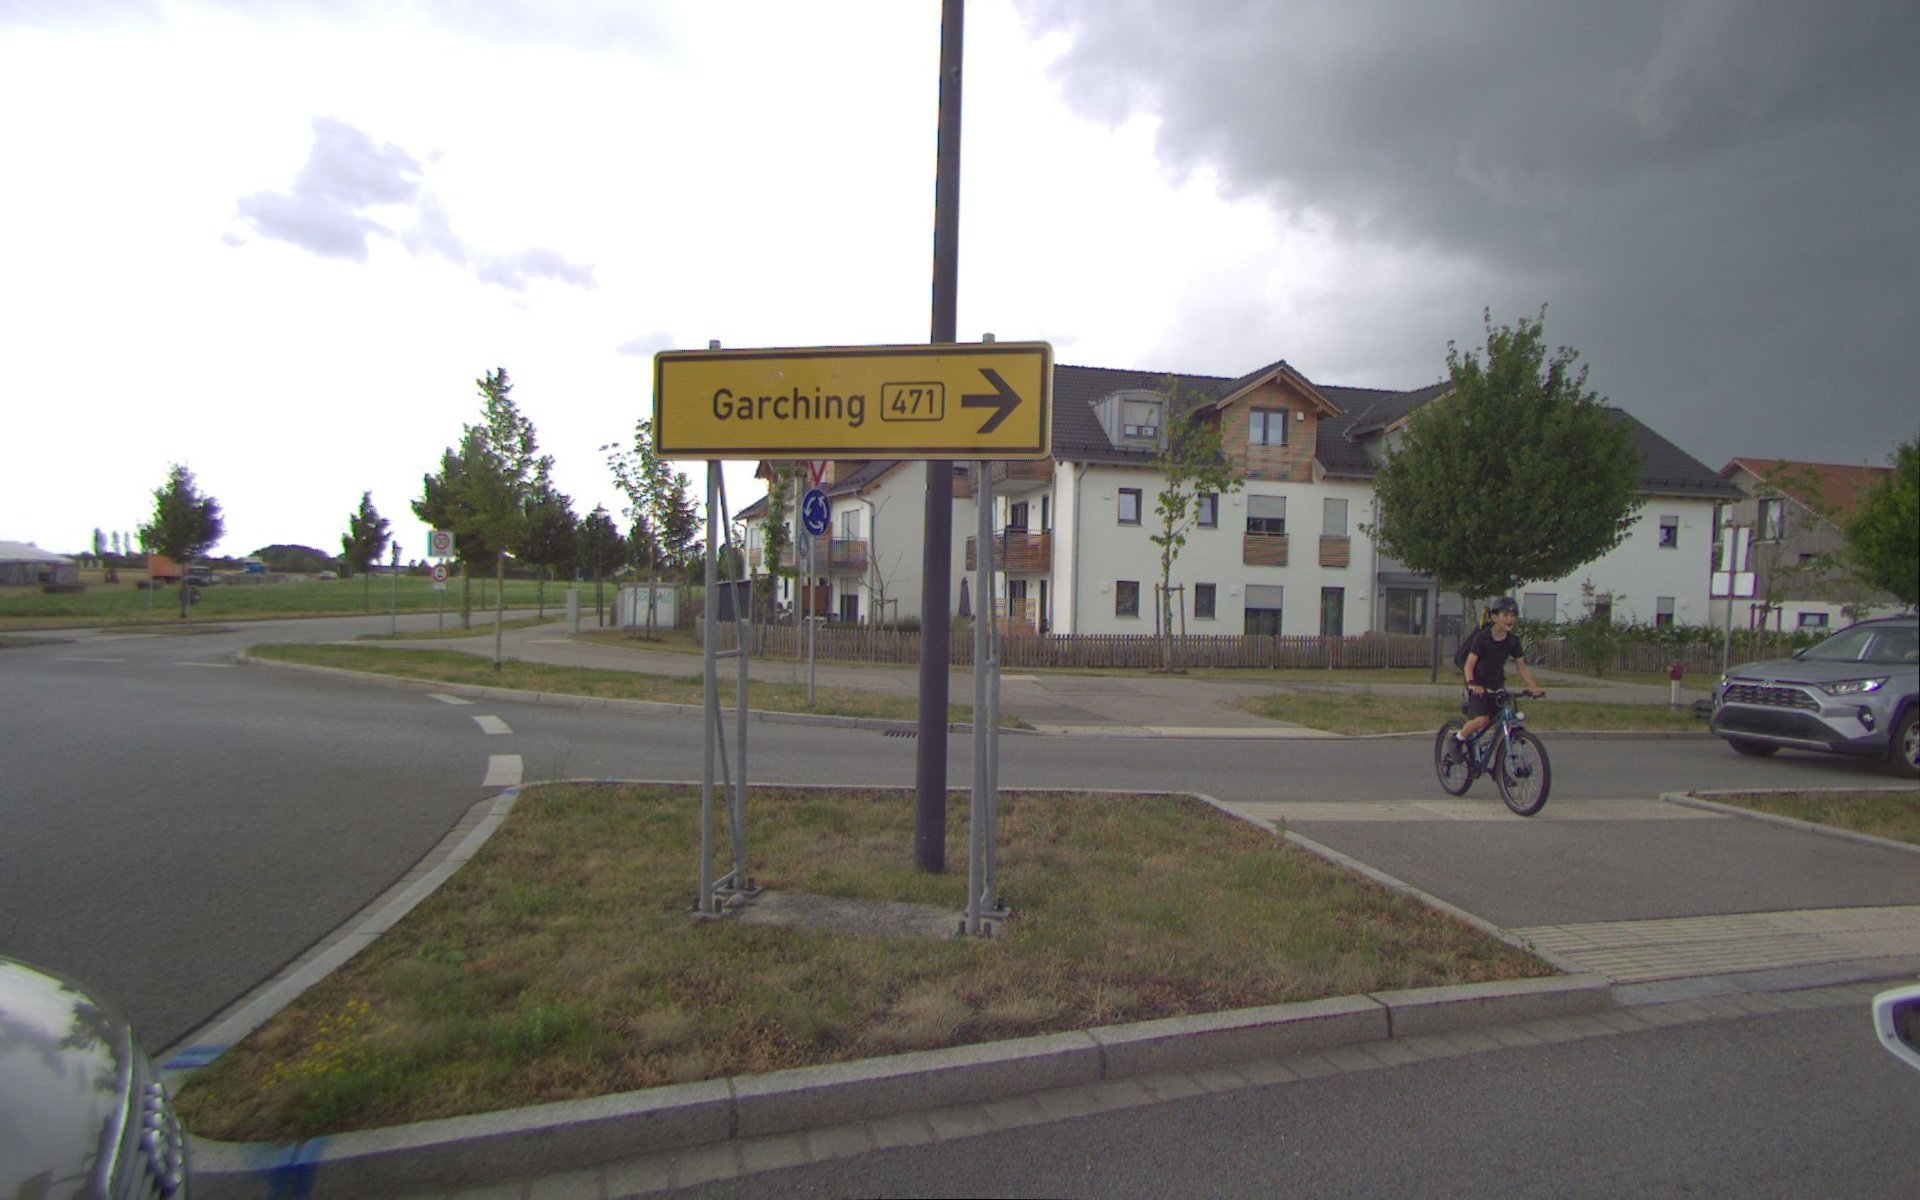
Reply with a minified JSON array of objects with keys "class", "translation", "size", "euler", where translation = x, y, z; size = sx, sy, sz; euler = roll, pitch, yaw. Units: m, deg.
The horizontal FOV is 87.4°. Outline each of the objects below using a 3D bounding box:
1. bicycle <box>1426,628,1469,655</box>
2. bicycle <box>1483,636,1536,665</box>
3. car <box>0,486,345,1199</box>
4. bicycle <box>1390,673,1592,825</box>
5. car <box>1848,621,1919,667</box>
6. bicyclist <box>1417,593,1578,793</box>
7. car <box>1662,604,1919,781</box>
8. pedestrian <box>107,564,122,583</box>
[{"class":"bicycle","translation":[16.444,1.397,33.861],"size":[1.314,0.854,0.367],"euler":[2,3,-12]},{"class":"bicycle","translation":[17.065,1.570,31.185],"size":[1.520,0.854,0.367],"euler":[2,3,-12]},{"class":"car","translation":[-2.863,0.599,0.203],"size":[4.501,1.485,1.763],"euler":[1,1,-39]},{"class":"bicycle","translation":[4.073,1.102,7.858],"size":[0.488,0.959,1.711],"euler":[1,-1,-8]},{"class":"car","translation":[41.122,1.925,43.189],"size":[4.384,1.795,1.997],"euler":[2,1,-9]},{"class":"bicyclist","translation":[4.154,0.689,7.820],"size":[0.711,1.466,0.868],"euler":[1,0,-9]},{"class":"car","translation":[10.665,0.974,11.339],"size":[4.556,1.726,1.995],"euler":[2,-1,-14]},{"class":"pedestrian","translation":[-95.955,-3.000,114.016],"size":[1.037,2.041,1.054],"euler":[1,1,-25]}]
